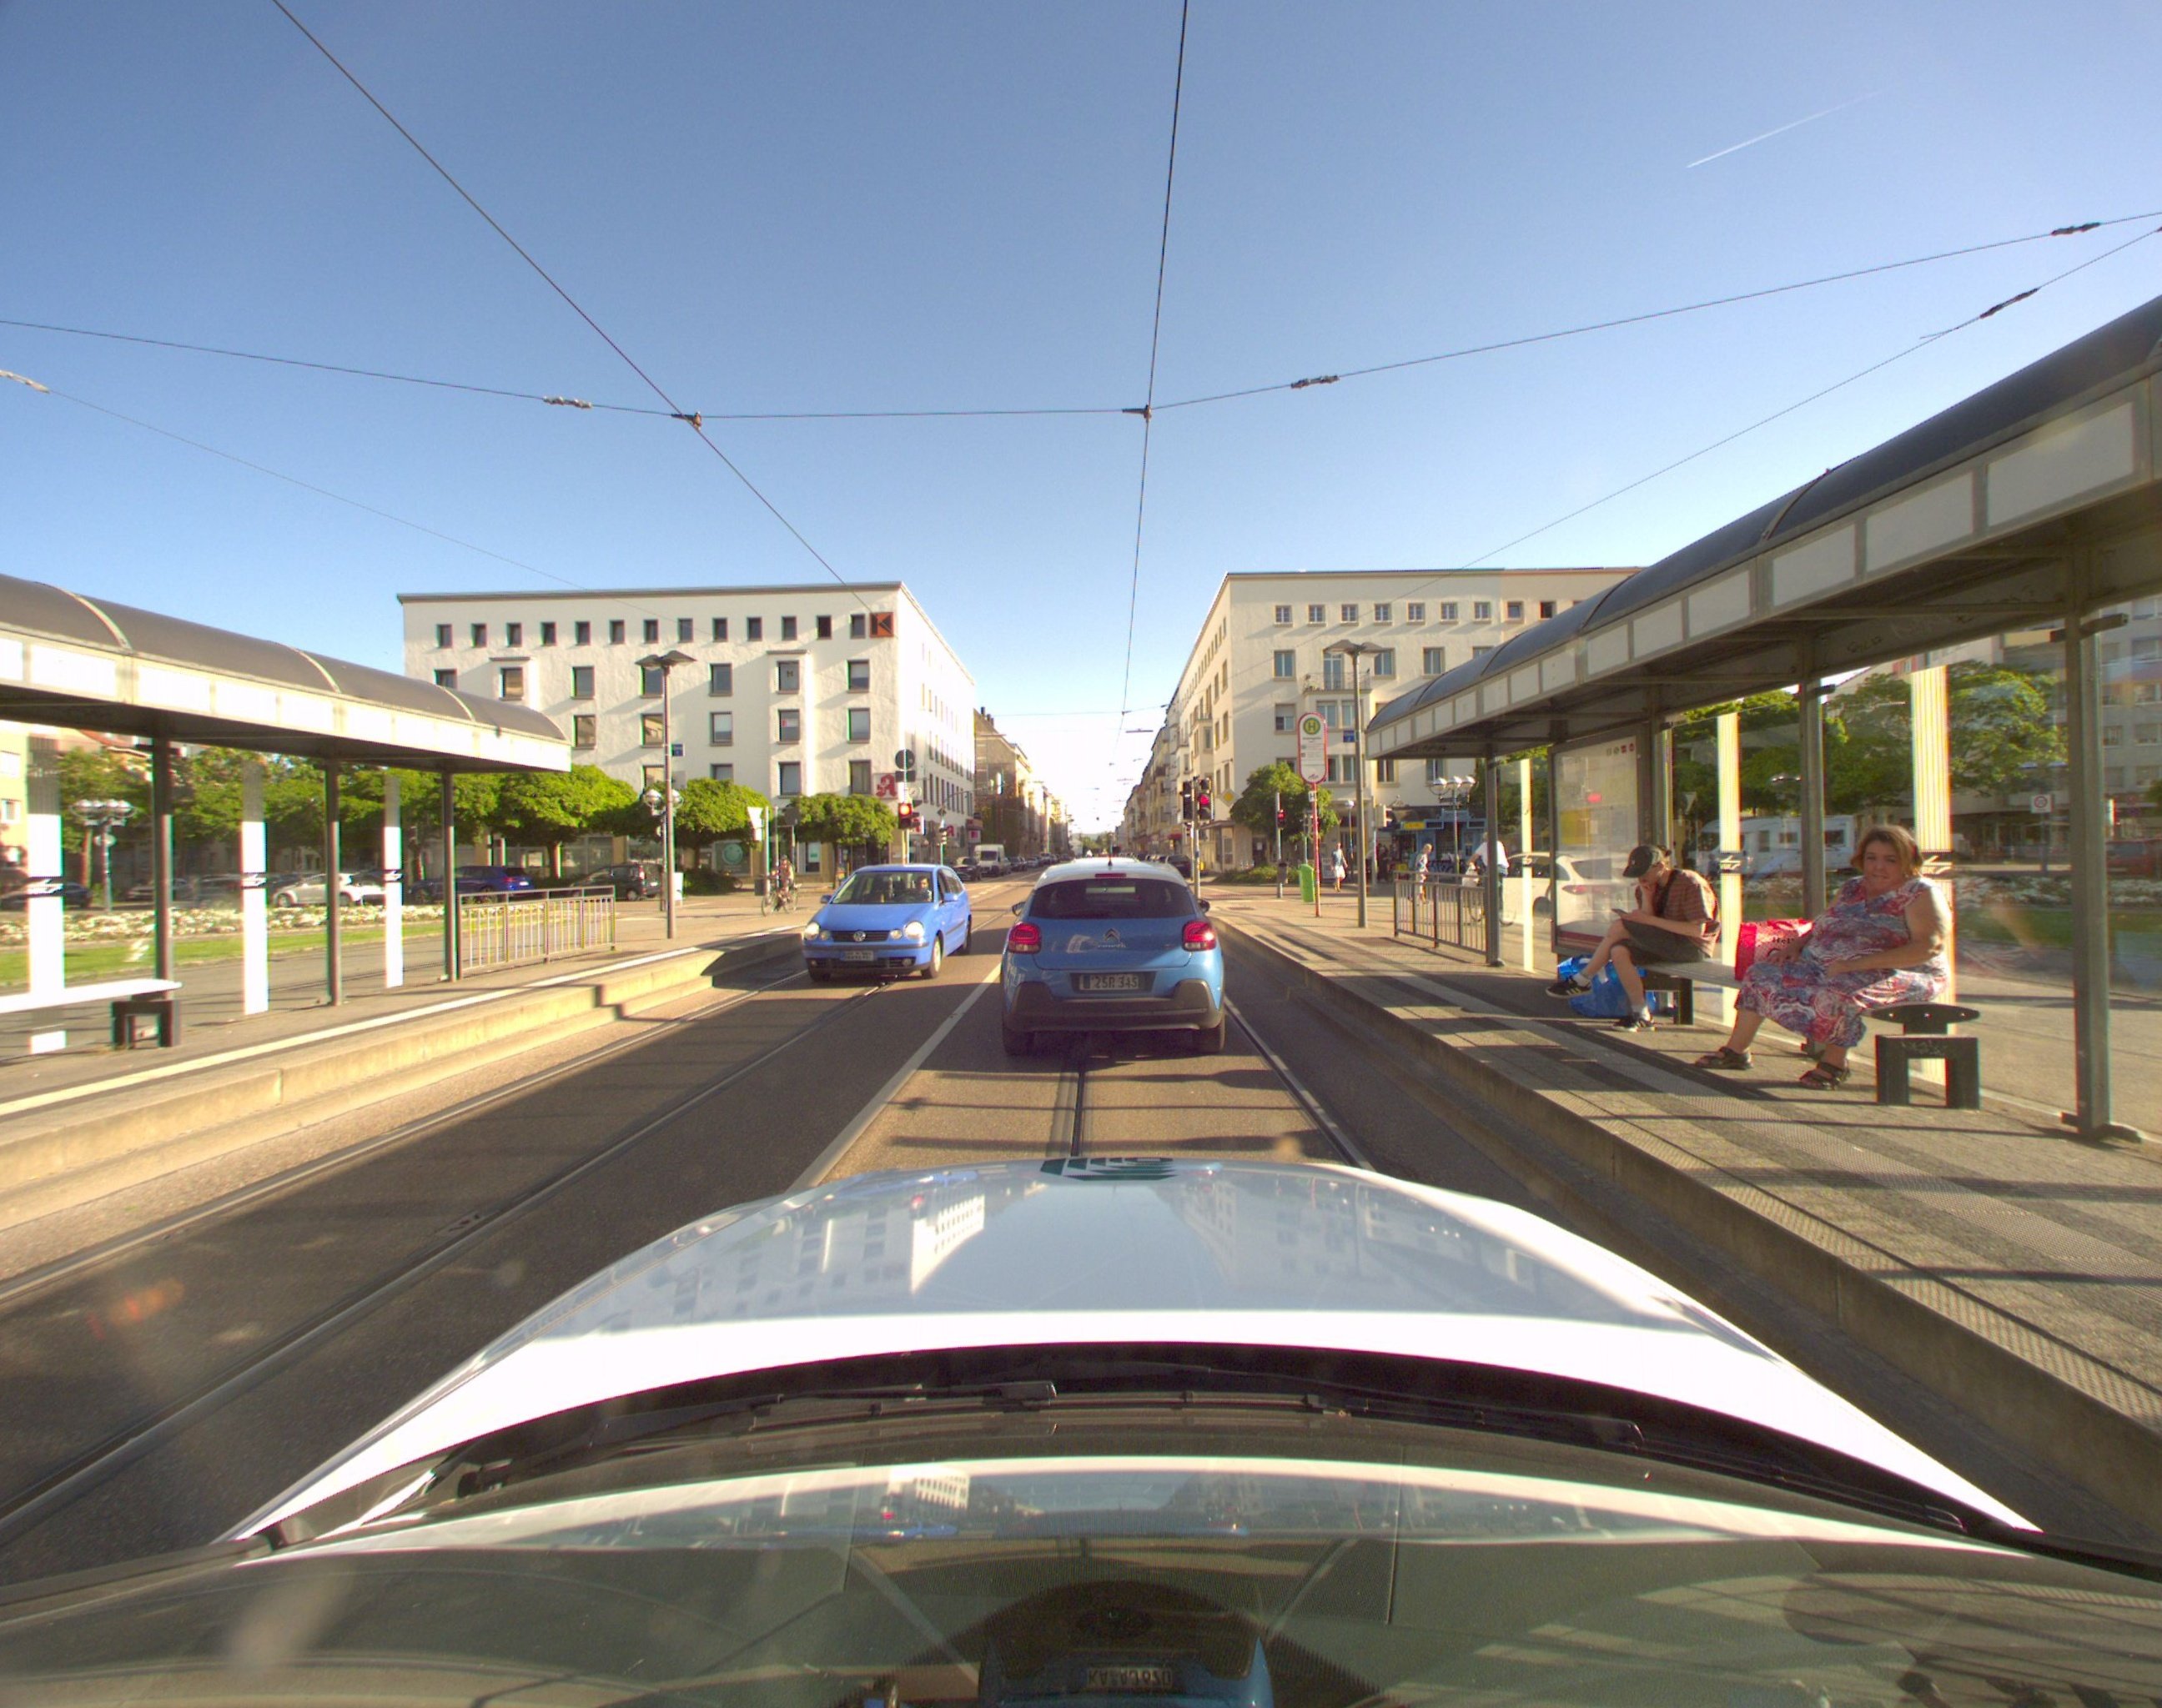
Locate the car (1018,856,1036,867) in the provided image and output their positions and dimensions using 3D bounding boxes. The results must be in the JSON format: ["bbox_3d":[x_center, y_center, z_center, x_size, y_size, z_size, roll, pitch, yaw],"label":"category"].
[{"bbox_3d":[-6.905,0.957,103.866,1.987,1.325,3.923,0,-1,1],"label":"car"}]

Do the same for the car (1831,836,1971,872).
[{"bbox_3d":[36.628,0.012,36.478,3.959,1.511,2.007,0,-1,13],"label":"car"}]

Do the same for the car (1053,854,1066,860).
[{"bbox_3d":[-4.828,0.676,185.499,1.981,1.156,4.528,-1,0,11],"label":"car"}]

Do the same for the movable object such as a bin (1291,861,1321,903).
[{"bbox_3d":[4.351,0.534,15.759,0.447,0.786,0.489,-1,0,4],"label":"movable object such as a bin"}]

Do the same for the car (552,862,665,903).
[{"bbox_3d":[-21.235,1.270,36.723,3.973,1.706,1.826,-1,0,1],"label":"car"}]

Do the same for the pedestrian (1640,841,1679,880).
[{"bbox_3d":[19.548,0.223,27.536,0.896,1.279,0.606,-1,0,8],"label":"pedestrian"}]

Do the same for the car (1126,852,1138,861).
[{"bbox_3d":[8.354,0.363,133.575,1.986,1.464,4.002,-1,0,2],"label":"car"}]

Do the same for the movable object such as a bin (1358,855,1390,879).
[{"bbox_3d":[14.500,0.634,40.334,1.194,1.153,1.218,-1,0,2],"label":"movable object such as a bin"}]

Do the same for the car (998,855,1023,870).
[{"bbox_3d":[-6.754,0.857,78.695,1.987,1.398,4.157,0,-1,1],"label":"car"}]

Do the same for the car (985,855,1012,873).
[{"bbox_3d":[-7.053,0.844,70.106,1.881,1.496,3.562,0,-1,1],"label":"car"}]

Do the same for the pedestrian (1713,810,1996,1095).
[{"bbox_3d":[3.950,0.473,4.215,0.855,1.334,0.623,2,-1,1],"label":"pedestrian"}]

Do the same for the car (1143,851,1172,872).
[{"bbox_3d":[5.891,0.589,62.820,1.986,1.501,4.002,-1,0,2],"label":"car"}]

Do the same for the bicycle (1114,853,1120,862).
[{"bbox_3d":[6.170,0.587,140.587,0.916,1.389,3.133,-1,0,2],"label":"bicycle"}]

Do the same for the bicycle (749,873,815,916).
[{"bbox_3d":[-8.542,1.140,23.355,0.722,1.113,1.985,-1,0,16],"label":"bicycle"}]

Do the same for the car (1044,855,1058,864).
[{"bbox_3d":[-5.082,0.930,137.267,1.946,1.552,3.942,0,-1,4],"label":"car"}]

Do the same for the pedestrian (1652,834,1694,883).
[{"bbox_3d":[19.476,0.148,26.805,0.897,1.585,0.663,-1,0,5],"label":"pedestrian"}]

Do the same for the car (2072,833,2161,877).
[{"bbox_3d":[38.720,0.009,29.349,3.983,1.486,1.995,-1,0,-7],"label":"car"}]

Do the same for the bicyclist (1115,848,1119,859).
[{"bbox_3d":[6.194,-0.075,140.308,0.806,2.014,0.923,0,-1,1],"label":"bicyclist"}]

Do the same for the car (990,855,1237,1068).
[{"bbox_3d":[0.283,0.758,7.621,1.721,1.482,3.828,0,0,2],"label":"car"}]

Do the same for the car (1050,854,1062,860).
[{"bbox_3d":[-4.730,0.563,152.833,1.986,1.156,4.002,-1,0,2],"label":"car"}]

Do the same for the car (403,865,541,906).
[{"bbox_3d":[-27.176,1.381,36.465,4.591,1.662,1.999,-1,0,-1],"label":"car"}]

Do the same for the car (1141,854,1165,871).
[{"bbox_3d":[6.501,0.746,73.695,1.986,1.464,4.002,-1,0,2],"label":"car"}]

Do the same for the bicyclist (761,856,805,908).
[{"bbox_3d":[-8.542,0.788,23.367,0.821,1.455,0.881,-1,-1,15],"label":"bicyclist"}]

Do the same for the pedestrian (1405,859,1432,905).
[{"bbox_3d":[9.076,0.745,21.913,0.554,1.225,0.528,0,-1,12],"label":"pedestrian"}]

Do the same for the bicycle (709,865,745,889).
[{"bbox_3d":[-19.097,1.239,43.998,0.615,1.190,2.624,-1,0,5],"label":"bicycle"}]

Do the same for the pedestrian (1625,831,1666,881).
[{"bbox_3d":[19.576,0.069,28.264,0.897,1.685,0.696,-1,0,4],"label":"pedestrian"}]

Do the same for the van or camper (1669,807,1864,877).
[{"bbox_3d":[30.129,-0.514,35.991,6.375,2.839,2.381,-1,0,5],"label":"van or camper"}]

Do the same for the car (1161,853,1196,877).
[{"bbox_3d":[6.256,0.664,52.682,1.902,1.464,4.002,-1,0,2],"label":"car"}]

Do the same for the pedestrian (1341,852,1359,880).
[{"bbox_3d":[12.939,0.572,39.213,0.733,1.316,0.631,-1,0,25],"label":"pedestrian"}]

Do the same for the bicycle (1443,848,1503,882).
[{"bbox_3d":[17.728,0.483,36.863,2.376,1.531,0.726,0,0,0],"label":"bicycle"}]

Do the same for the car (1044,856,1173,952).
[{"bbox_3d":[0.498,0.778,14.929,1.977,1.464,4.817,0,0,2],"label":"car"}]

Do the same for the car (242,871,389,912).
[{"bbox_3d":[-33.503,1.613,35.734,4.591,1.606,1.855,-1,0,-1],"label":"car"}]

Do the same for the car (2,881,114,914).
[{"bbox_3d":[-52.117,2.168,41.605,1.925,1.494,4.314,0,-1,-27],"label":"car"}]

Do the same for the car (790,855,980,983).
[{"bbox_3d":[-2.562,0.764,11.587,1.661,1.487,4.001,0,0,1],"label":"car"}]

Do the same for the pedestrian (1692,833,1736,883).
[{"bbox_3d":[20.627,0.140,26.539,0.897,1.585,0.663,-1,0,5],"label":"pedestrian"}]

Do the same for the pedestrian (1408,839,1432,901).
[{"bbox_3d":[9.681,0.466,23.265,0.554,1.745,0.528,0,-1,12],"label":"pedestrian"}]

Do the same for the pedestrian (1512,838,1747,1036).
[{"bbox_3d":[3.723,0.527,5.624,0.995,1.225,0.923,2,-1,2],"label":"pedestrian"}]

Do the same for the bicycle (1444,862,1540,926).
[{"bbox_3d":[7.590,0.700,15.169,0.715,1.061,2.325,0,0,3],"label":"bicycle"}]

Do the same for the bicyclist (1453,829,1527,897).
[{"bbox_3d":[7.607,0.164,15.183,0.947,1.225,0.934,0,0,3],"label":"bicyclist"}]

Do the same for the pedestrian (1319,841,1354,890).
[{"bbox_3d":[9.888,0.448,31.563,0.978,1.878,1.128,-1,-1,-1],"label":"pedestrian"}]

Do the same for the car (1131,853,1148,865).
[{"bbox_3d":[7.372,0.643,102.400,1.986,1.464,4.507,-1,0,2],"label":"car"}]

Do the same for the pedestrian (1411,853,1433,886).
[{"bbox_3d":[15.404,0.684,36.810,0.727,1.409,0.755,-1,3,2],"label":"pedestrian"}]

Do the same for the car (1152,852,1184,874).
[{"bbox_3d":[6.073,0.606,57.235,1.986,1.464,4.002,-1,0,2],"label":"car"}]

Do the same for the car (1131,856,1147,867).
[{"bbox_3d":[7.778,0.973,109.723,1.986,1.464,4.002,-1,0,2],"label":"car"}]

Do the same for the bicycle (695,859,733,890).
[{"bbox_3d":[-19.821,1.101,44.040,0.614,1.607,2.625,-1,0,6],"label":"bicycle"}]

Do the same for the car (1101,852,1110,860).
[{"bbox_3d":[5.393,0.395,180.008,1.986,1.772,4.002,-1,0,2],"label":"car"}]

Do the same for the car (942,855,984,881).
[{"bbox_3d":[-7.643,0.896,53.047,1.987,1.569,4.403,2,-1,1],"label":"car"}]

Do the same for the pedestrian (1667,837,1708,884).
[{"bbox_3d":[20.932,0.234,28.110,0.897,1.585,0.663,-1,0,5],"label":"pedestrian"}]

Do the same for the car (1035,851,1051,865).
[{"bbox_3d":[-5.853,0.645,127.423,1.997,2.014,4.694,0,-1,4],"label":"car"}]

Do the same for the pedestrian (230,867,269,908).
[{"bbox_3d":[-37.807,1.517,37.029,0.938,1.817,0.872,-1,0,13],"label":"pedestrian"}]

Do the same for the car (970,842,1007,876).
[{"bbox_3d":[-7.111,0.369,63.335,2.078,2.542,6.206,0,0,1],"label":"car"}]

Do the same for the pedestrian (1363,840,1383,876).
[{"bbox_3d":[15.249,0.188,42.512,0.781,1.839,0.679,-1,0,5],"label":"pedestrian"}]

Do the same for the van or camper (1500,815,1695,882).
[{"bbox_3d":[22.865,-0.268,36.294,7.093,2.747,2.372,-1,1,2],"label":"van or camper"}]
